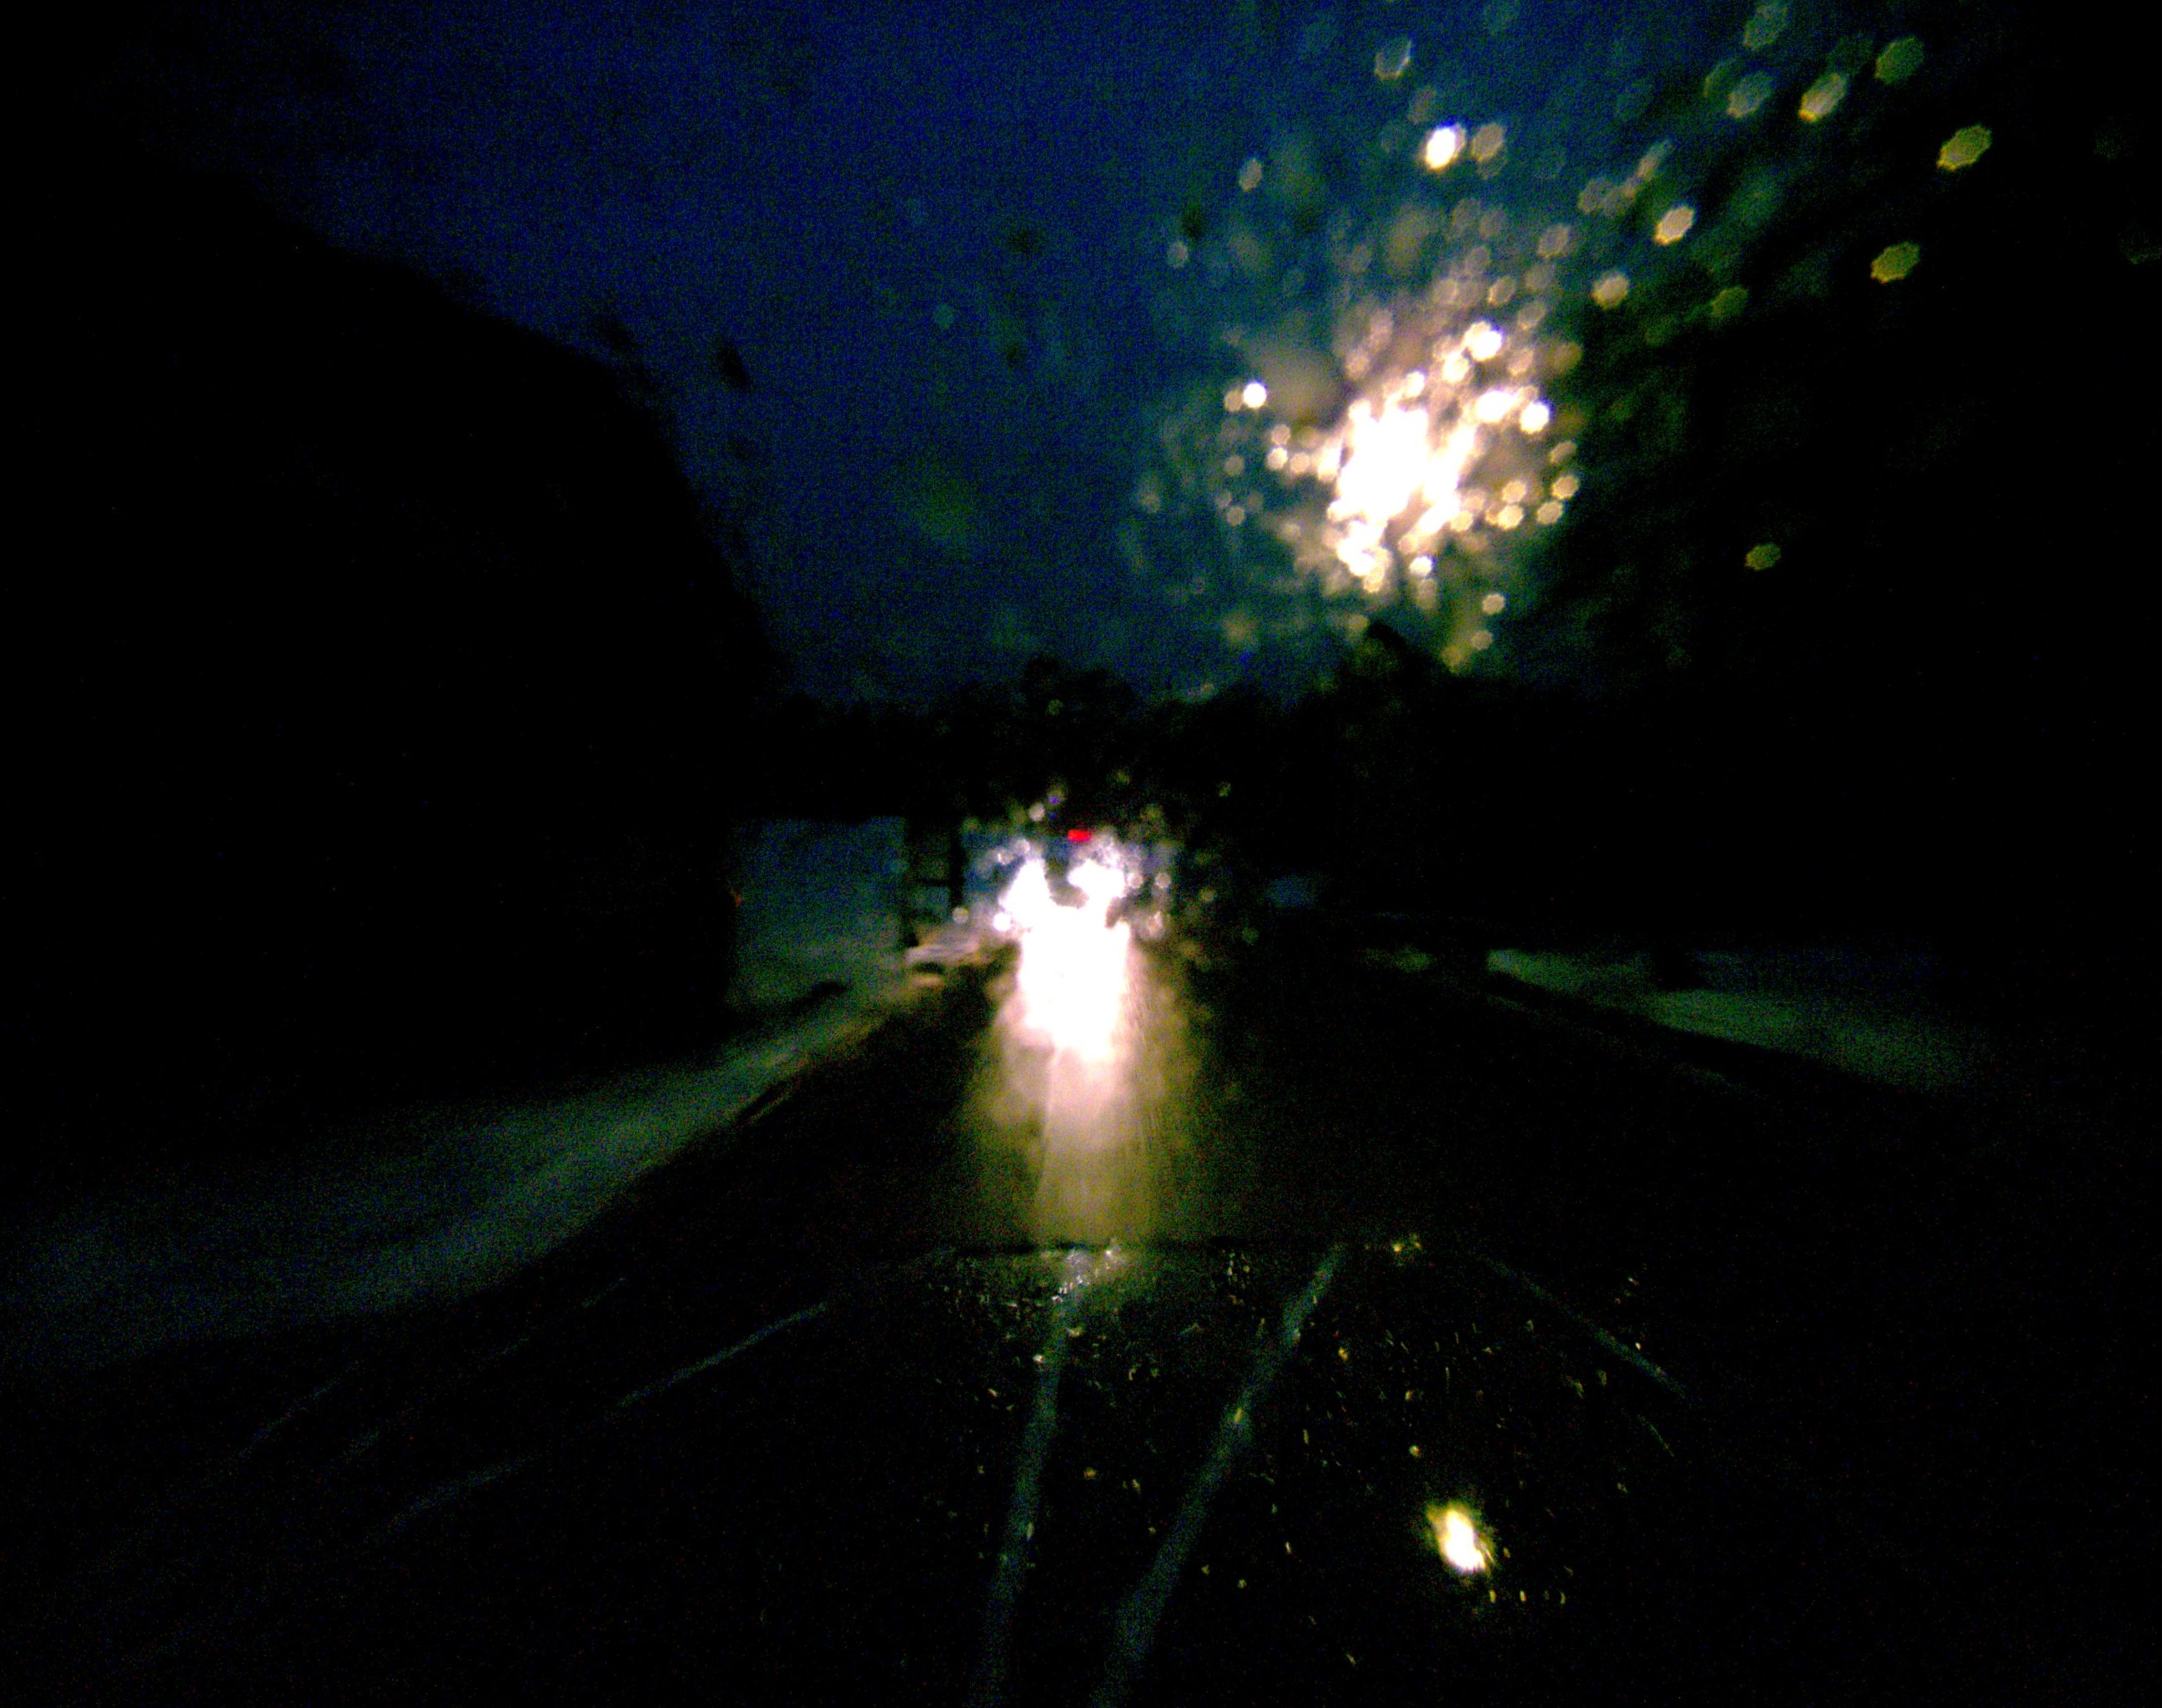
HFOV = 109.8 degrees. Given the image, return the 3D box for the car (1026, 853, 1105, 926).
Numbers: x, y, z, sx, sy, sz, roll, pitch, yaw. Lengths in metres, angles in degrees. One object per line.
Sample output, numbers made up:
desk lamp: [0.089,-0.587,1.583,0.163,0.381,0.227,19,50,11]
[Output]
car: [-0.277,0.789,18.627,1.649,1.446,3.680,-2,2,2]
